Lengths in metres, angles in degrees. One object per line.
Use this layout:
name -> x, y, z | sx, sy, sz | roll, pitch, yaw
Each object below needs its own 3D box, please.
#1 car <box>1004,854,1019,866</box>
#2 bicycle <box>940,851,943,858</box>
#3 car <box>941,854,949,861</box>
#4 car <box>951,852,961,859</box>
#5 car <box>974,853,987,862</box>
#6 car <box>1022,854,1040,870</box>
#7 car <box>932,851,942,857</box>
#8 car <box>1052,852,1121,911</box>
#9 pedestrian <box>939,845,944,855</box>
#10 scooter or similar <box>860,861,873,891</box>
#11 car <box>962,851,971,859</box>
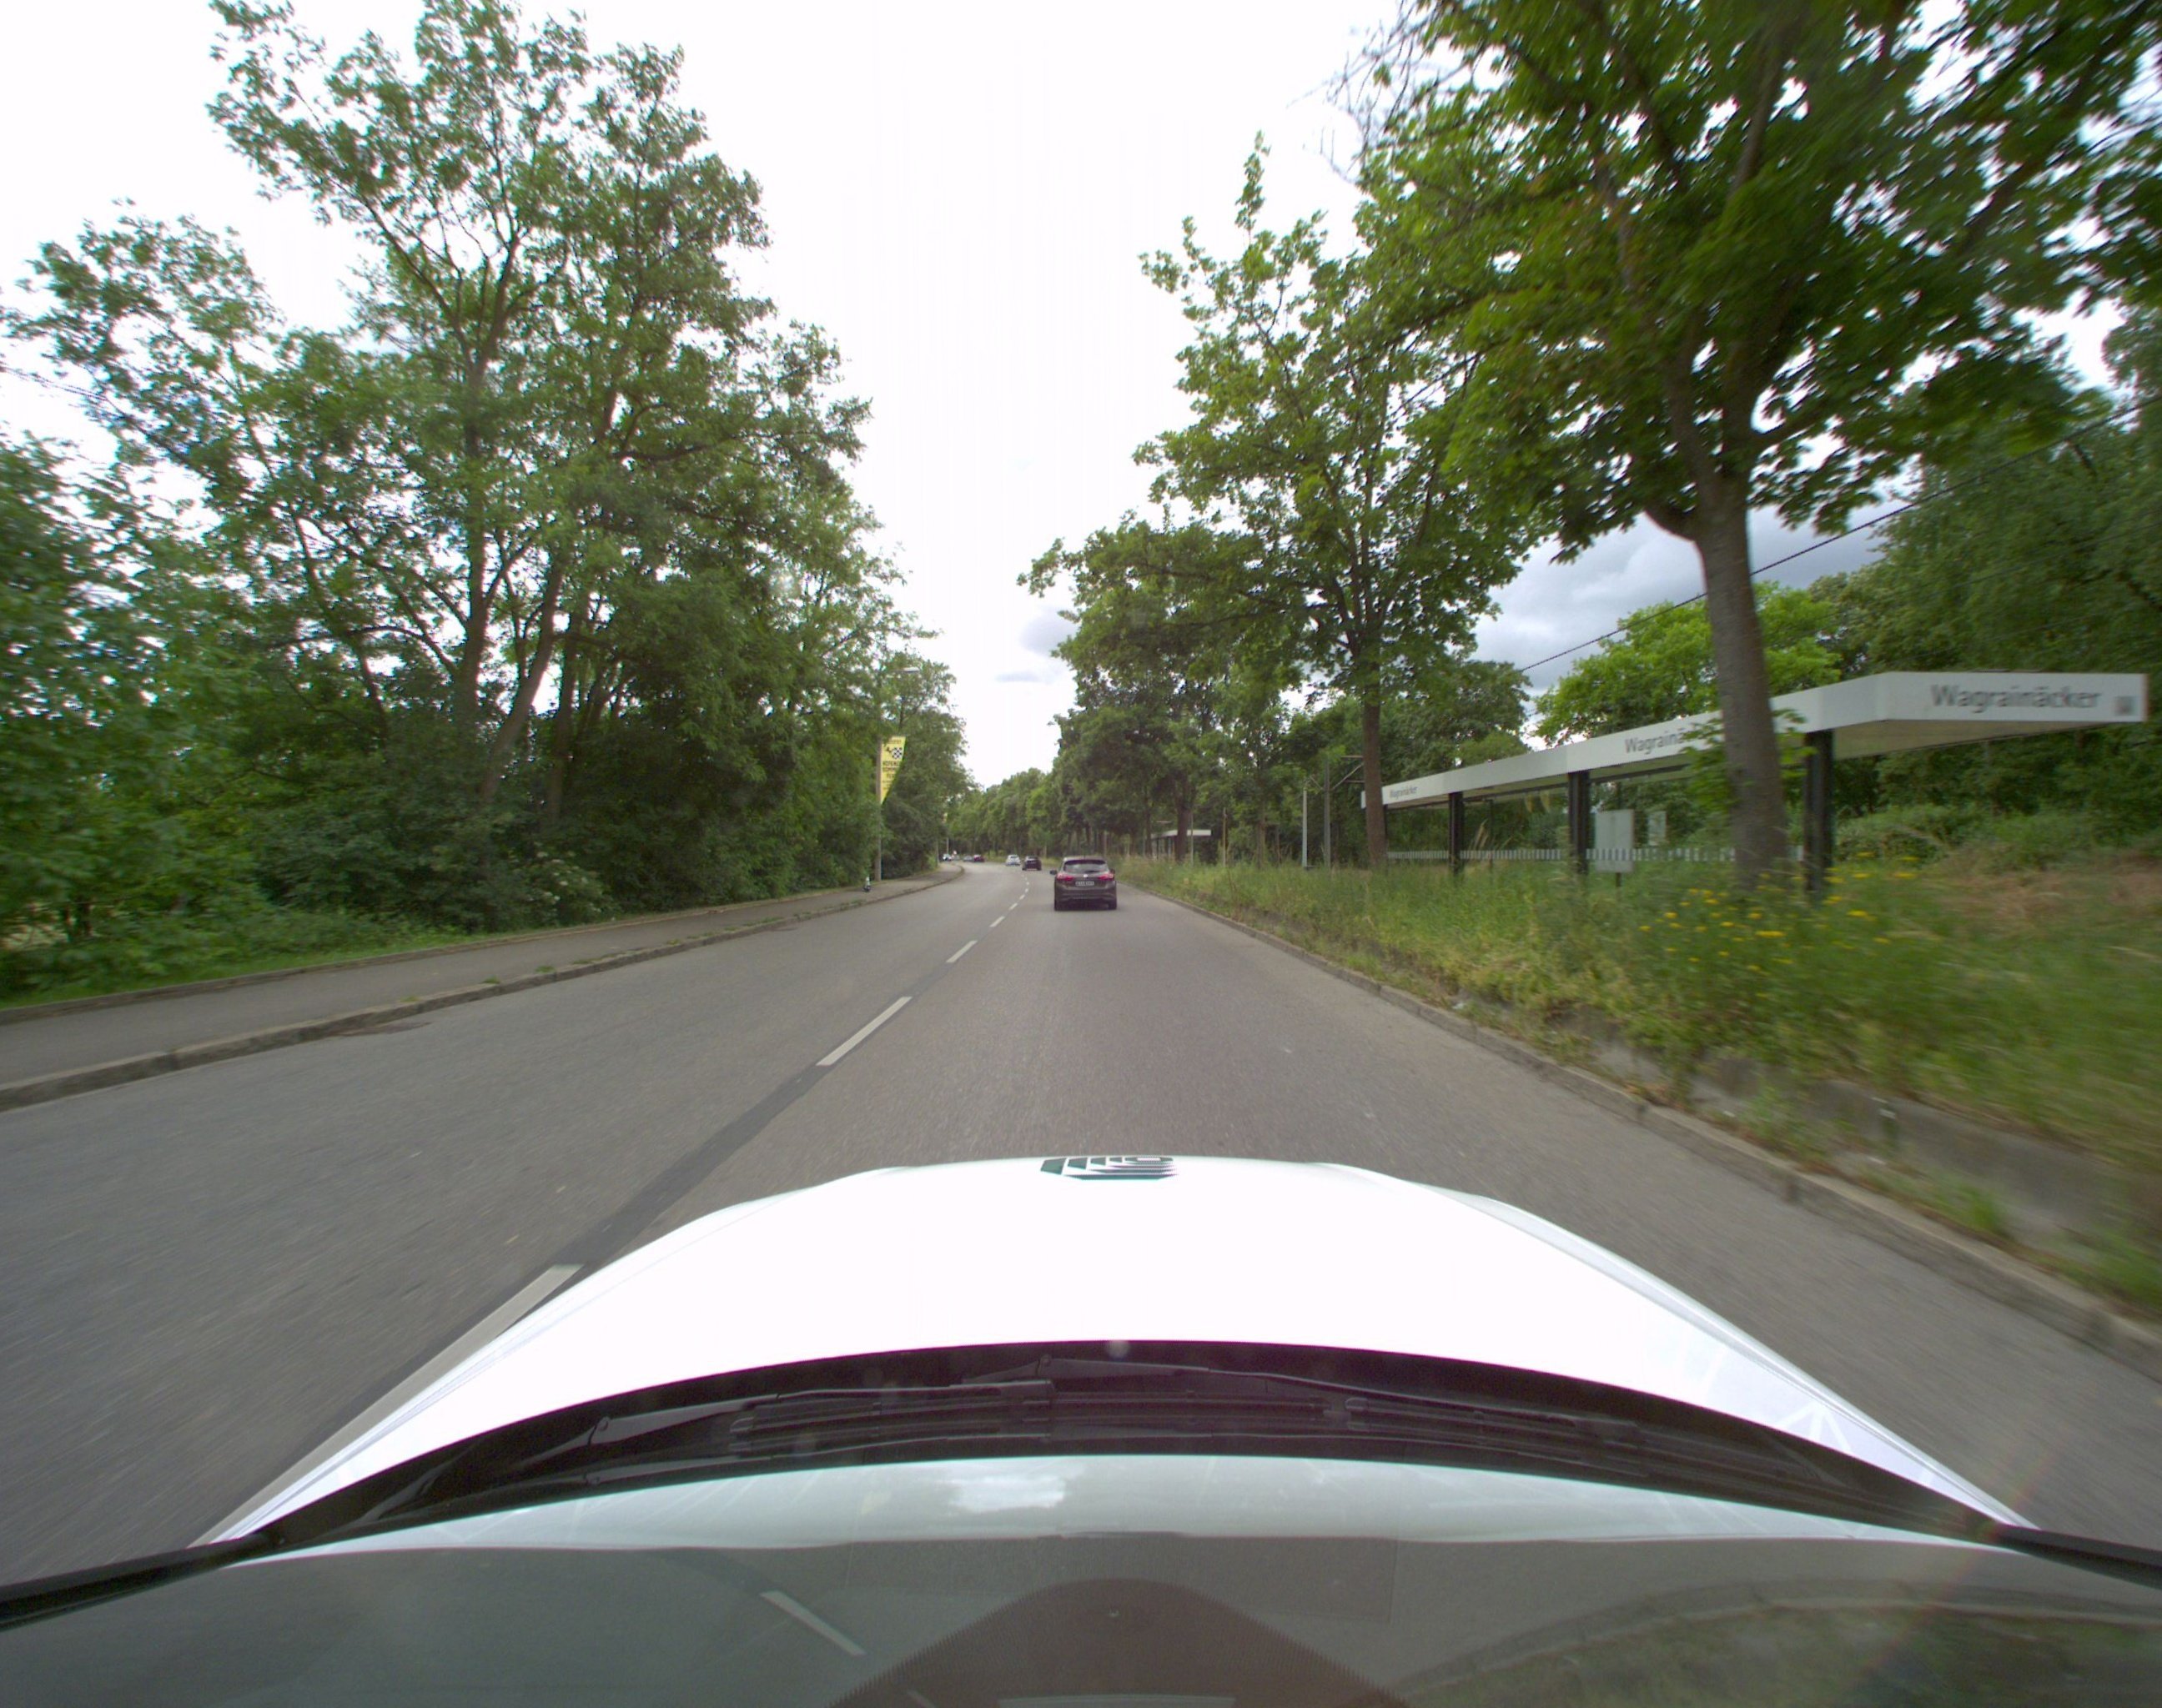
car -> -9.562, 0.794, 111.645 | 1.774, 1.472, 3.990 | 2, 1, -8
bicycle -> -21.562, 0.012, 125.942 | 0.488, 1.030, 1.119 | 2, 0, -13
car -> -27.736, 0.715, 166.034 | 1.596, 1.506, 3.017 | -1, 0, -10
car -> -28.273, 0.332, 183.637 | 1.779, 1.472, 3.980 | 2, 1, -15
car -> -18.359, 0.597, 148.131 | 1.779, 1.472, 3.980 | 3, 0, -15
car -> -5.097, 0.799, 83.334 | 1.772, 1.472, 3.995 | 2, 1, -4
car -> -37.350, -0.081, 210.797 | 1.782, 1.472, 3.973 | 2, 1, -20
car -> 0.073, 0.730, 24.116 | 1.812, 1.508, 3.996 | -1, 1, -3
pedestrian -> -21.552, -0.641, 125.891 | 0.618, 1.571, 0.846 | 2, 0, -13
scooter or similar -> -8.888, 0.897, 33.718 | 0.366, 1.184, 1.288 | 1, 0, -22
car -> -22.982, 0.231, 163.339 | 1.775, 1.472, 3.990 | 1, 1, -8
